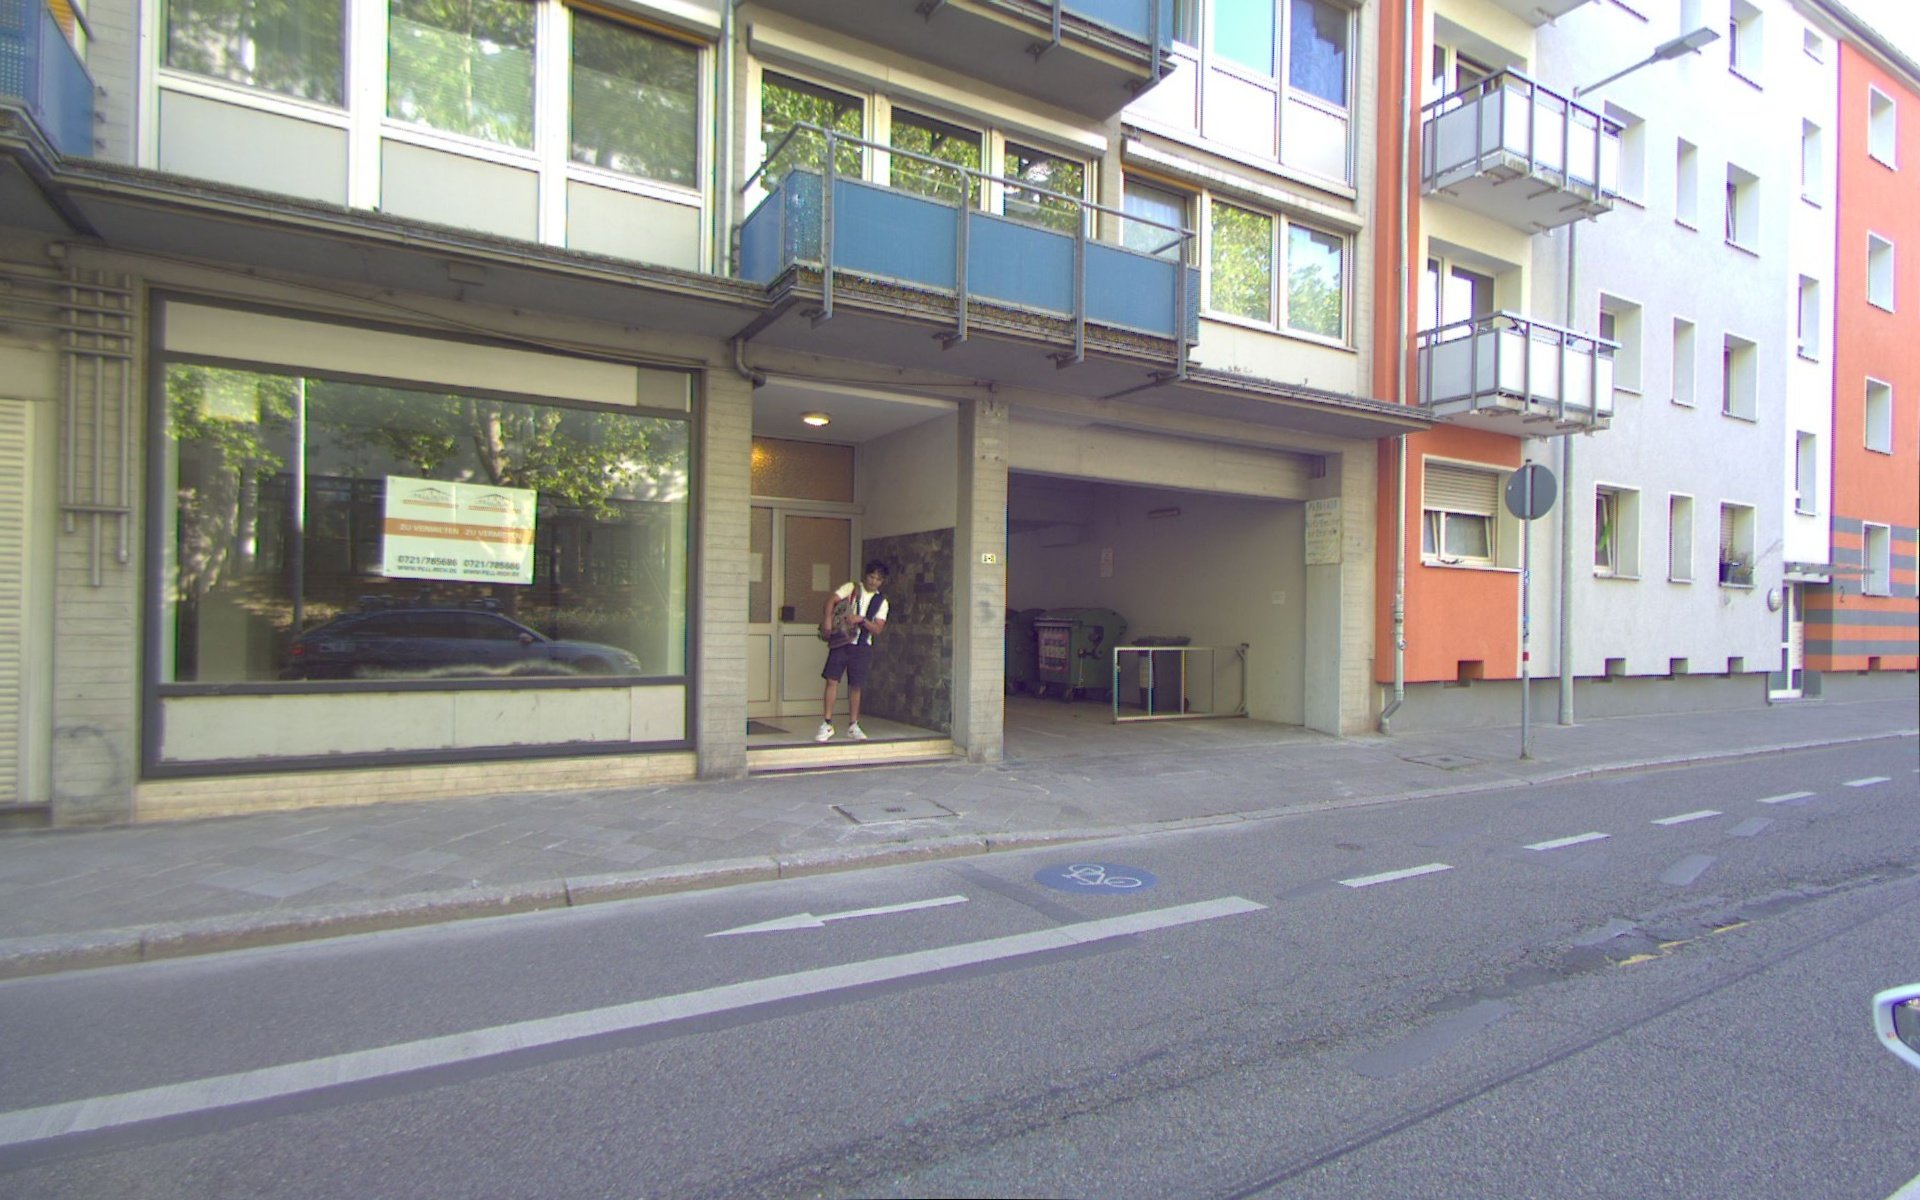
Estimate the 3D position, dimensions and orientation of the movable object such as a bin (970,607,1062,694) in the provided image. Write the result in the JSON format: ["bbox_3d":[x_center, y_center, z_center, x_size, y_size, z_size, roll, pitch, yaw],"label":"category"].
[{"bbox_3d":[0.942,0.841,17.119,1.066,1.384,1.255,2,0,-27],"label":"movable object such as a bin"}]

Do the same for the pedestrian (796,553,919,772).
[{"bbox_3d":[-0.953,0.550,9.247,0.882,1.902,0.703,2,0,-28],"label":"pedestrian"}]

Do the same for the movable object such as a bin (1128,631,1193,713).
[{"bbox_3d":[2.884,1.023,14.455,0.650,1.115,0.626,2,0,-27],"label":"movable object such as a bin"}]

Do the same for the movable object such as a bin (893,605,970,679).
[{"bbox_3d":[-0.578,0.808,19.858,1.066,1.384,1.255,2,0,-27],"label":"movable object such as a bin"}]

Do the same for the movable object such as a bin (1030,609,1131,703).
[{"bbox_3d":[1.884,0.864,15.805,1.066,1.384,1.192,2,0,-27],"label":"movable object such as a bin"}]

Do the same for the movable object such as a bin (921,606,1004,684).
[{"bbox_3d":[0.031,0.821,18.688,1.066,1.384,1.255,2,0,-27],"label":"movable object such as a bin"}]
